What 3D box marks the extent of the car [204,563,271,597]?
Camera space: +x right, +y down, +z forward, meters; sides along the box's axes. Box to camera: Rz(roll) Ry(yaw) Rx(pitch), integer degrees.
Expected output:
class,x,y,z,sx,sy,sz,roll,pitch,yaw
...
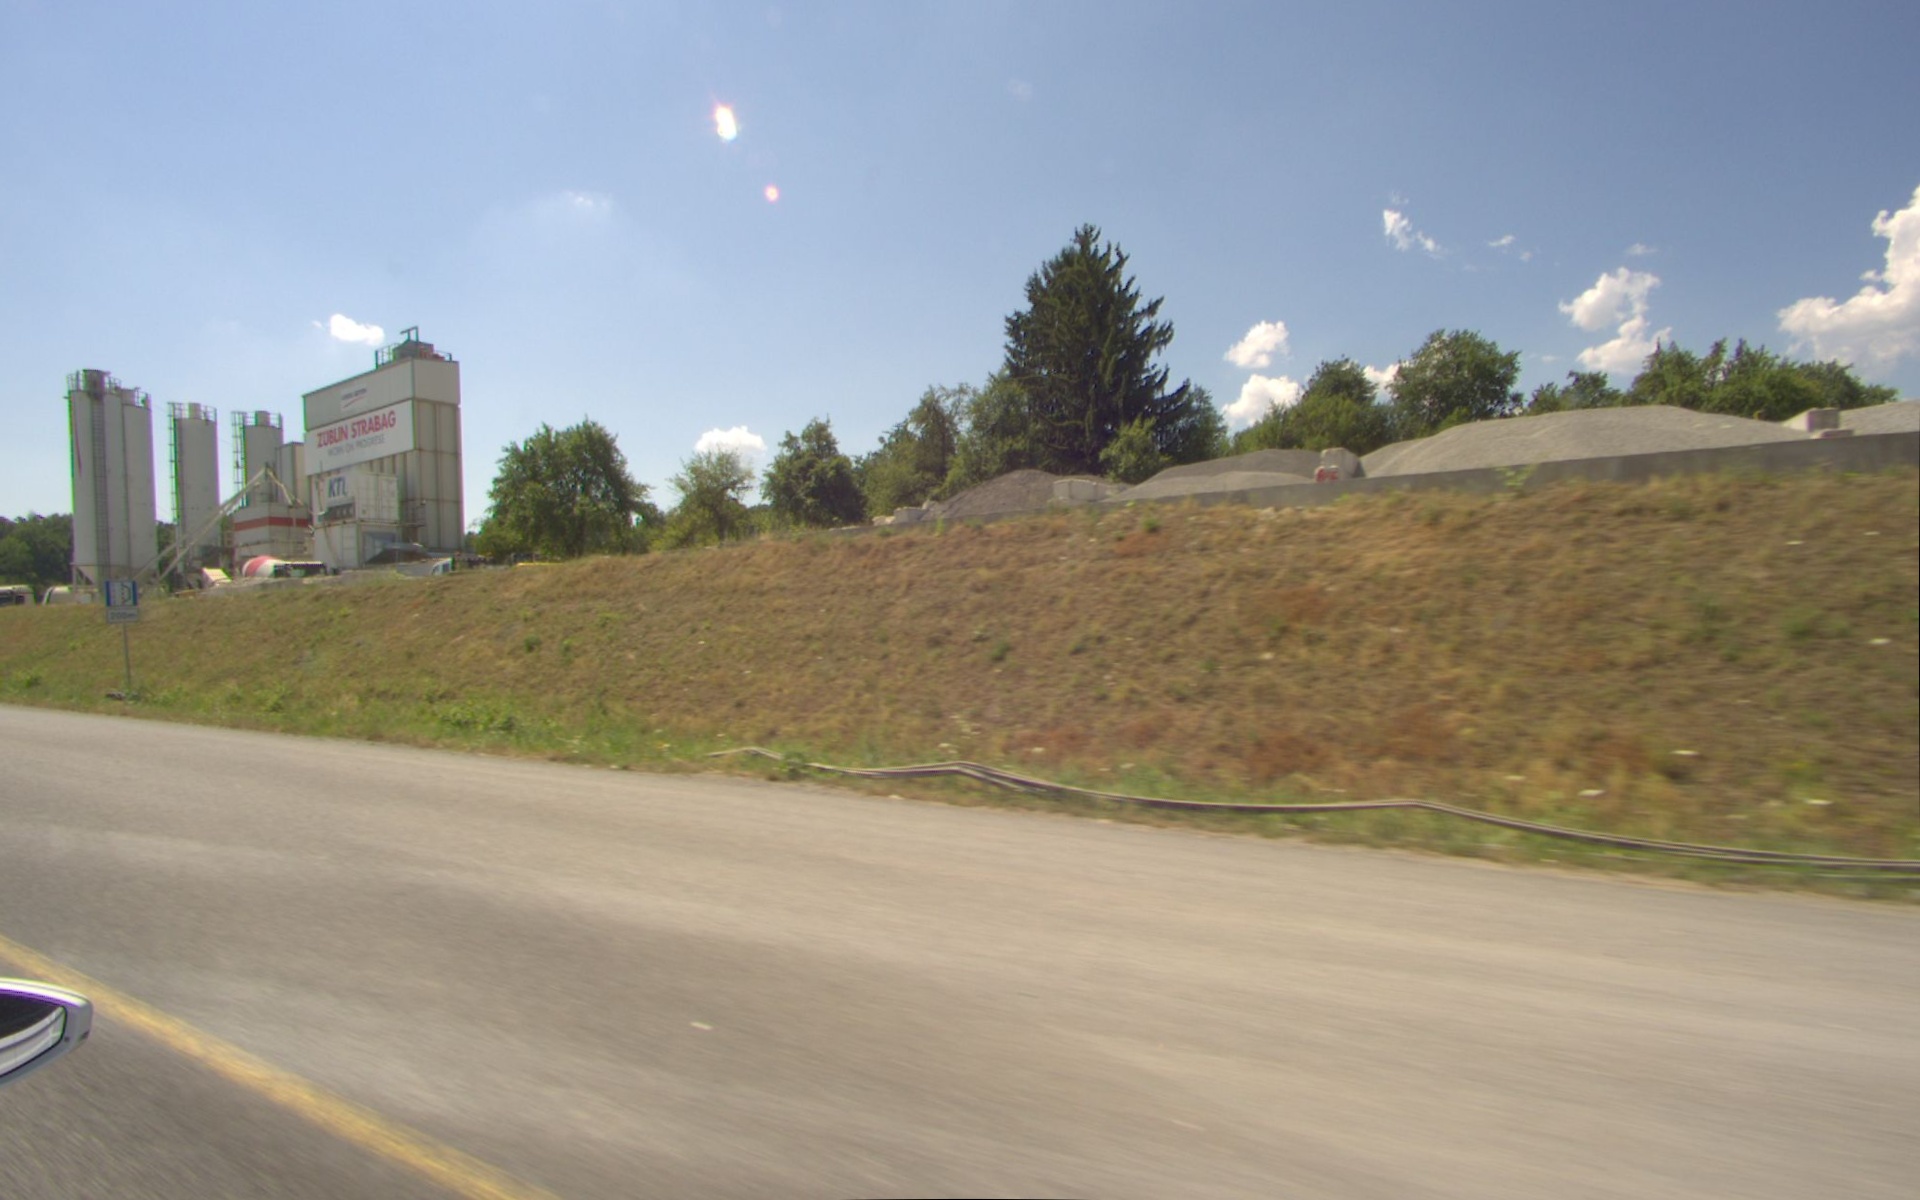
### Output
class,x,y,z,sx,sy,sz,roll,pitch,yaw
car,-46.295,-1.236,64.148,4.364,2.040,1.989,-1,0,32

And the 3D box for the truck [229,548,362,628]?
class,x,y,z,sx,sy,sz,roll,pitch,yaw
truck,-39.212,-0.592,58.908,9.799,4.353,3.424,-1,0,37

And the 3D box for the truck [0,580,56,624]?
class,x,y,z,sx,sy,sz,roll,pitch,yaw
truck,-70.417,0.183,75.171,2.866,3.153,5.975,0,-1,-33

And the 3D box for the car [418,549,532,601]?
class,x,y,z,sx,sy,sz,roll,pitch,yaw
car,-21.050,-1.016,43.400,4.921,2.040,2.219,-1,0,32

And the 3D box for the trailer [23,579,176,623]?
class,x,y,z,sx,sy,sz,roll,pitch,yaw
trailer,-69.042,0.133,80.673,3.271,3.271,9.012,0,-1,18
